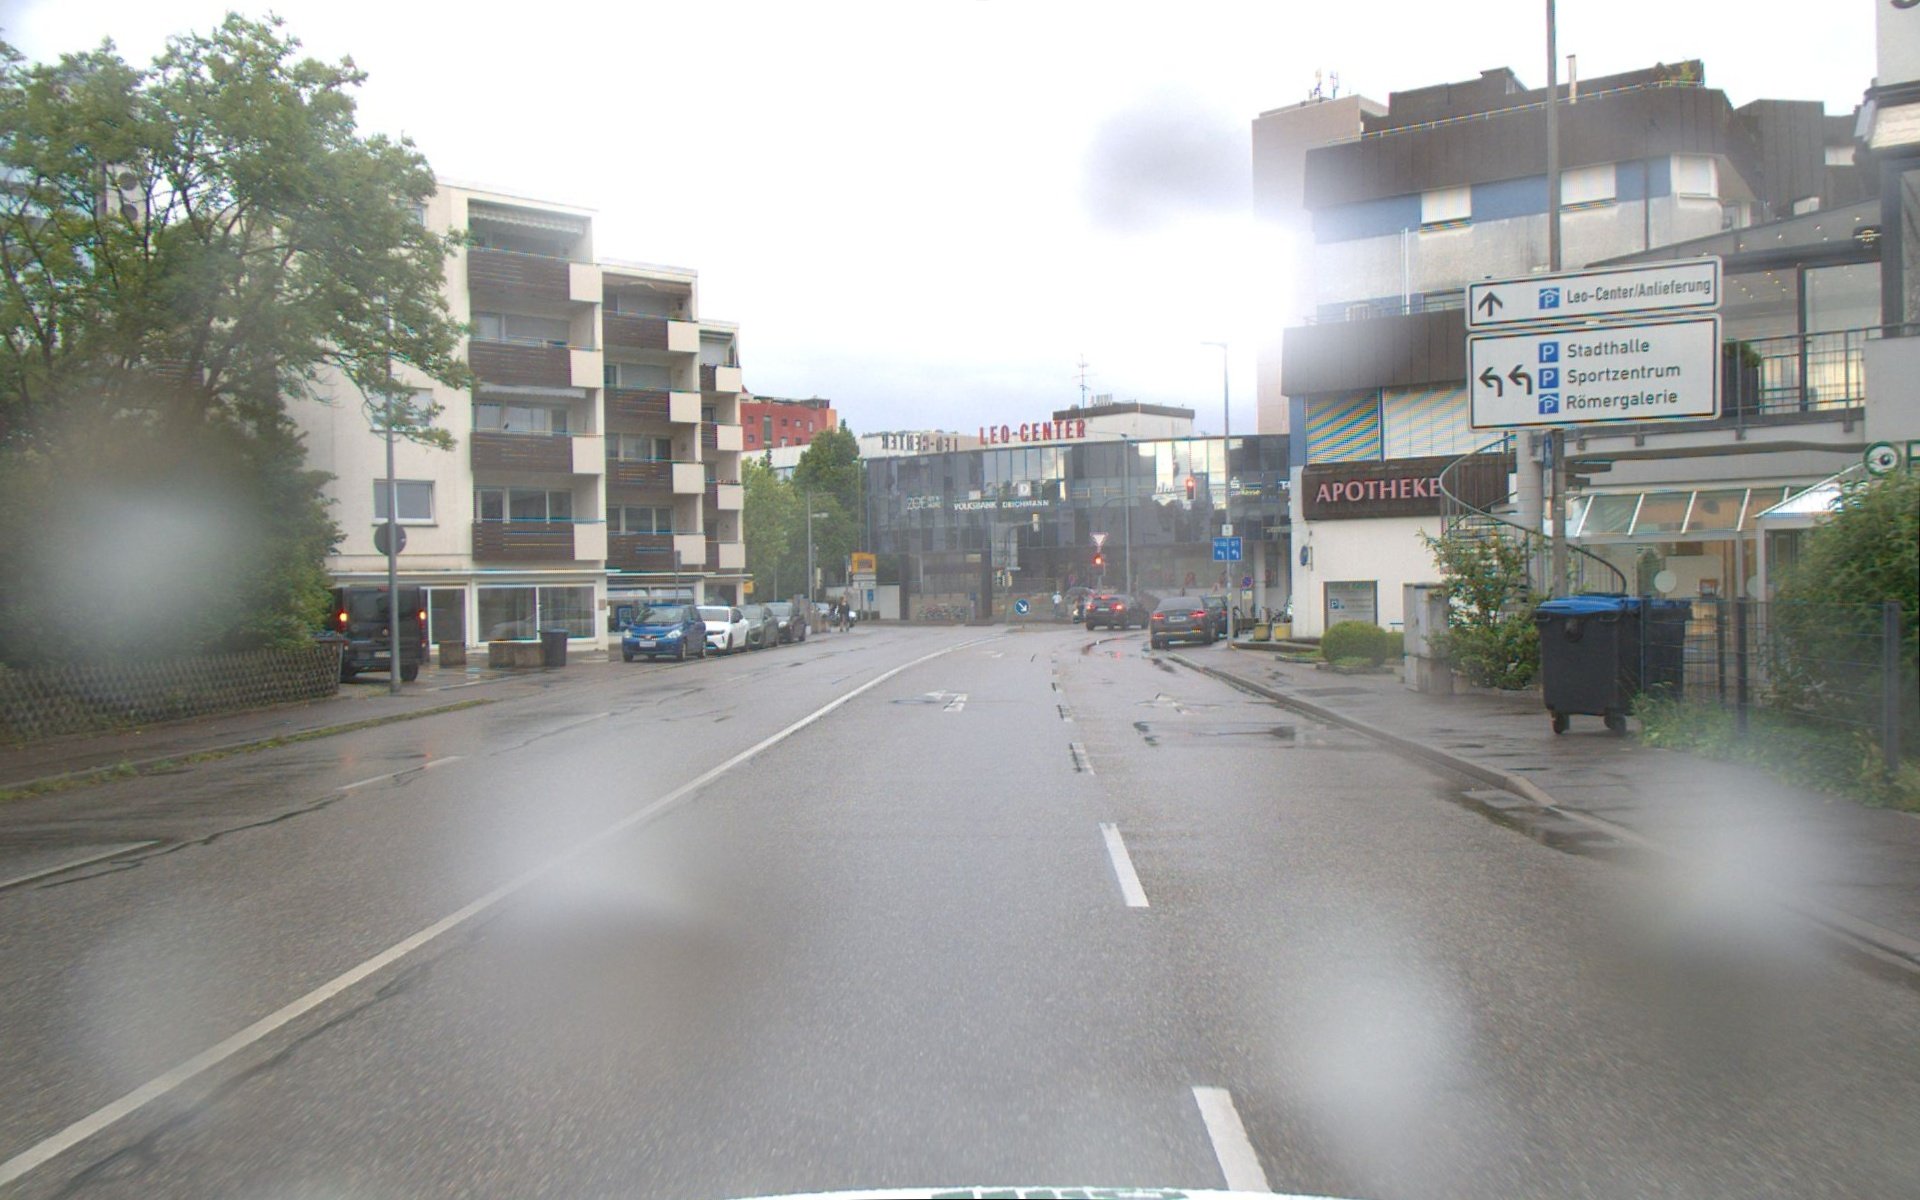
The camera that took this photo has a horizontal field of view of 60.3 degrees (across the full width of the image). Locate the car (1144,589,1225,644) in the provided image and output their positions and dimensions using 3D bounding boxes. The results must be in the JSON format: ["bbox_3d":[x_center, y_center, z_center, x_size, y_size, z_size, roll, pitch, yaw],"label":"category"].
[{"bbox_3d":[6.778,0.510,49.517,1.951,1.560,4.650,0,-1,13],"label":"car"}]

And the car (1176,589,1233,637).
[{"bbox_3d":[8.761,0.448,59.064,1.662,1.511,4.004,-4,0,12],"label":"car"}]

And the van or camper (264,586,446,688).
[{"bbox_3d":[-13.086,0.725,35.576,1.982,1.958,5.141,-3,2,-40],"label":"van or camper"}]

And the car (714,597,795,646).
[{"bbox_3d":[-7.046,0.700,57.108,1.894,1.568,4.523,-1,0,4],"label":"car"}]

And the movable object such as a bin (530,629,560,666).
[{"bbox_3d":[-10.626,1.216,42.325,0.562,0.918,0.598,-2,0,4],"label":"movable object such as a bin"}]

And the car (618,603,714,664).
[{"bbox_3d":[-8.090,0.902,45.852,1.617,1.547,4.326,-1,0,4],"label":"car"}]

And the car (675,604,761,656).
[{"bbox_3d":[-7.504,0.900,51.733,1.658,1.489,4.686,-1,0,4],"label":"car"}]

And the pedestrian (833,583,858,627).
[{"bbox_3d":[-5.360,0.231,77.519,0.733,2.048,0.920,3,0,24],"label":"pedestrian"}]

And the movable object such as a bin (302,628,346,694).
[{"bbox_3d":[-11.356,1.087,29.529,0.588,1.138,0.600,-2,0,-10],"label":"movable object such as a bin"}]

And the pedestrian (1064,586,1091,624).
[{"bbox_3d":[5.405,0.210,76.054,0.897,1.688,0.750,2,1,-24],"label":"pedestrian"}]

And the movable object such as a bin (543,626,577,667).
[{"bbox_3d":[-10.059,1.165,41.570,0.634,0.982,0.683,-2,0,4],"label":"movable object such as a bin"}]

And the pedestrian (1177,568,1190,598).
[{"bbox_3d":[15.813,-1.194,117.065,0.771,2.049,0.671,-2,0,14],"label":"pedestrian"}]

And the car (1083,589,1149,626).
[{"bbox_3d":[6.542,0.284,69.080,1.767,1.444,4.001,-1,0,20],"label":"car"}]

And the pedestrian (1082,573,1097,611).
[{"bbox_3d":[6.031,-0.376,77.069,0.597,1.688,0.672,2,1,-1],"label":"pedestrian"}]

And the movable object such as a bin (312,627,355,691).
[{"bbox_3d":[-11.422,1.066,30.171,0.588,1.138,0.600,-2,0,-10],"label":"movable object such as a bin"}]

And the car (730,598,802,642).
[{"bbox_3d":[-7.232,0.727,62.108,1.894,1.568,4.275,-1,0,4],"label":"car"}]

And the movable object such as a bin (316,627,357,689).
[{"bbox_3d":[-11.935,1.099,31.653,0.593,1.138,0.594,-2,0,-33],"label":"movable object such as a bin"}]

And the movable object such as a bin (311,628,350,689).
[{"bbox_3d":[-12.291,1.136,32.297,0.593,1.138,0.594,-2,0,-33],"label":"movable object such as a bin"}]
